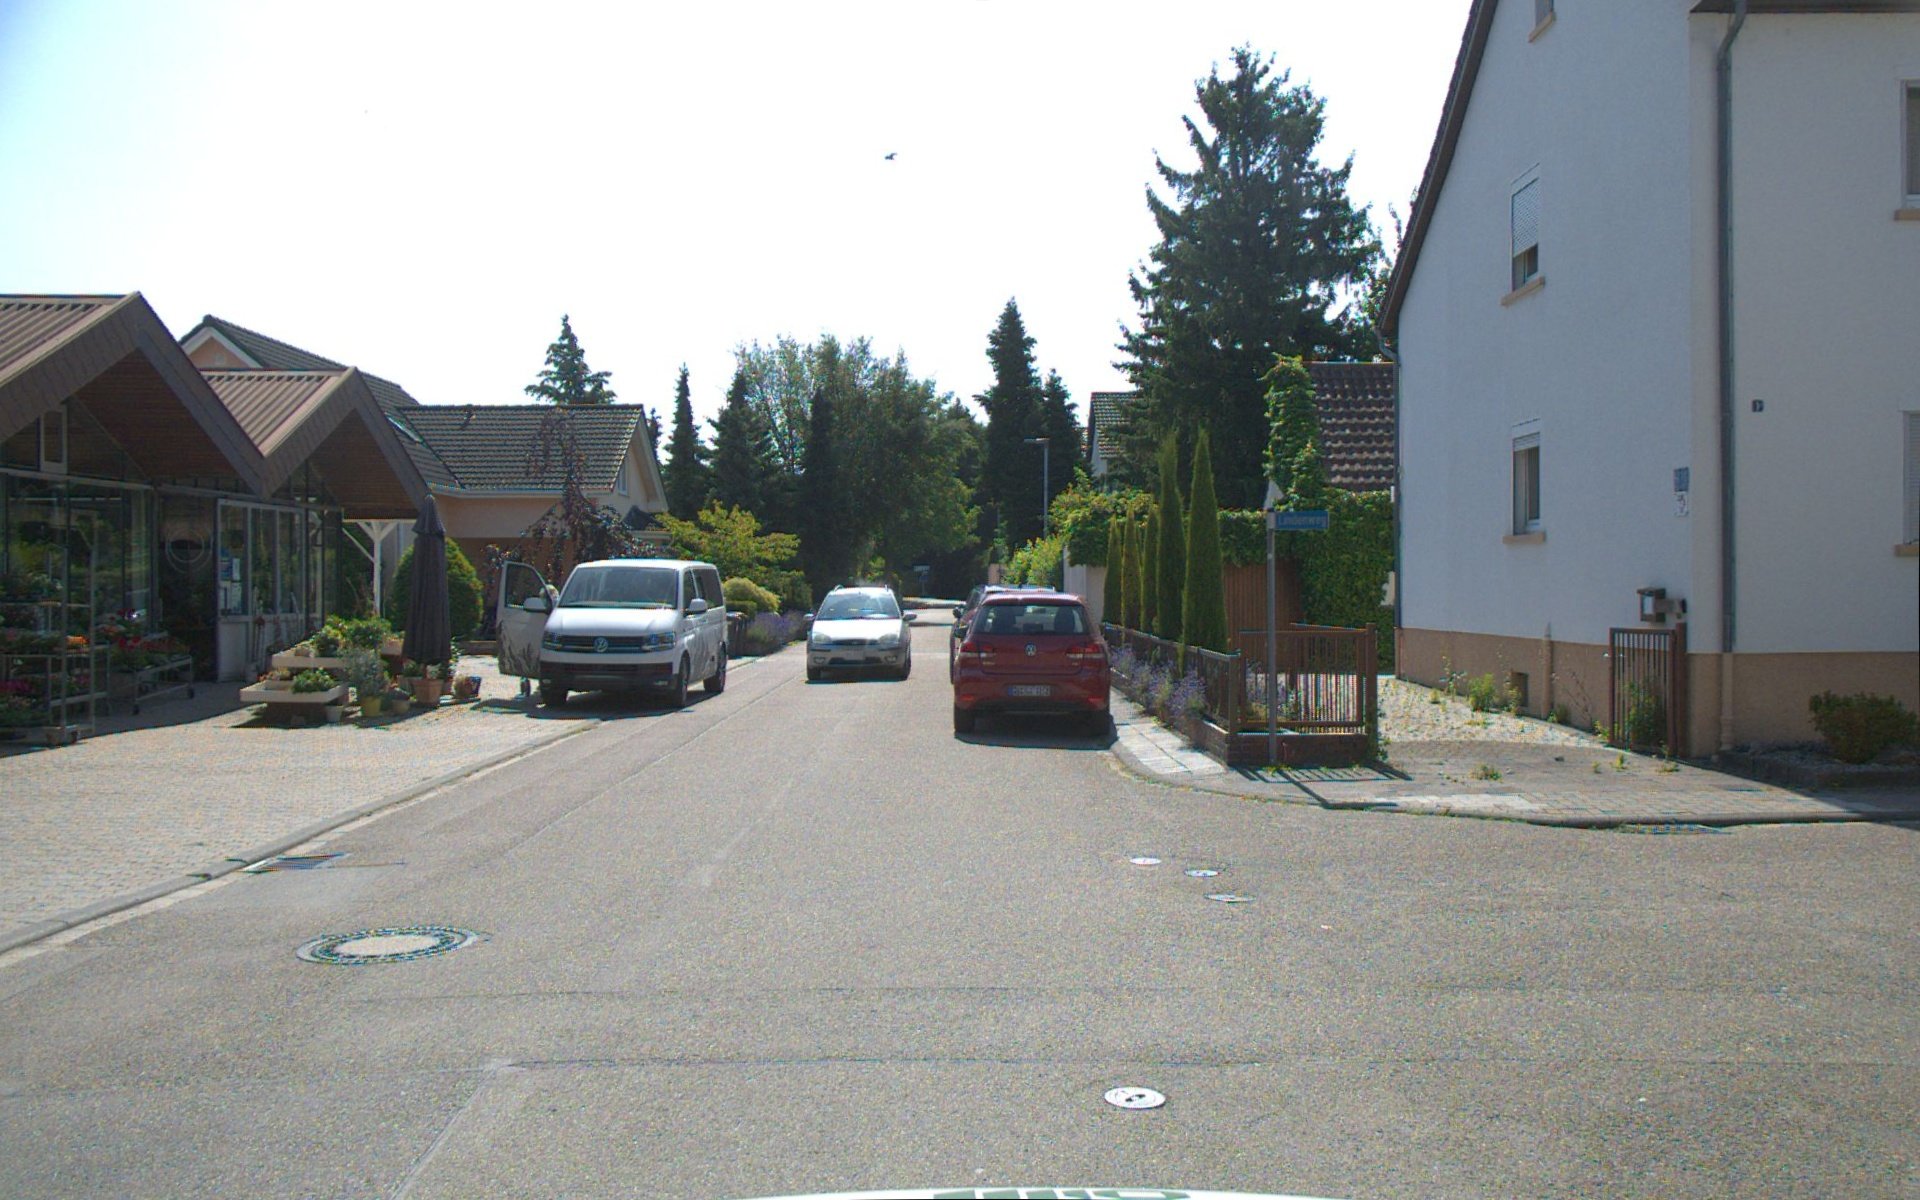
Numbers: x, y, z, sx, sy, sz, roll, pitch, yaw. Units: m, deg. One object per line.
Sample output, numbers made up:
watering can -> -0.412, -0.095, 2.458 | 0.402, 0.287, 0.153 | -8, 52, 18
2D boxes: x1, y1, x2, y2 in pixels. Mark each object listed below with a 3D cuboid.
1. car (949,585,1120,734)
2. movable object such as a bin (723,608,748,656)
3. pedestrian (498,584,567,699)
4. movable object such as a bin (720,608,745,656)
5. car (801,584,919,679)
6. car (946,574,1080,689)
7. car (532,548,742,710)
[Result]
car -> 0.886, 0.605, 19.168 | 1.738, 1.505, 4.002 | 1, 0, 3
movable object such as a bin -> -5.024, 0.712, 37.061 | 0.484, 1.042, 0.447 | -1, 0, 0
pedestrian -> -5.973, 0.558, 23.108 | 0.704, 1.565, 0.640 | 1, 1, 33
movable object such as a bin -> -5.029, 0.705, 36.598 | 0.484, 1.042, 0.447 | -1, 0, 0
car -> -1.667, 0.493, 28.822 | 1.716, 1.513, 4.376 | -1, 0, 1
car -> 0.750, 0.445, 25.939 | 1.786, 1.643, 3.998 | 0, 0, -3
car -> -4.430, 0.349, 23.458 | 1.889, 2.049, 4.897 | 0, 0, 1
